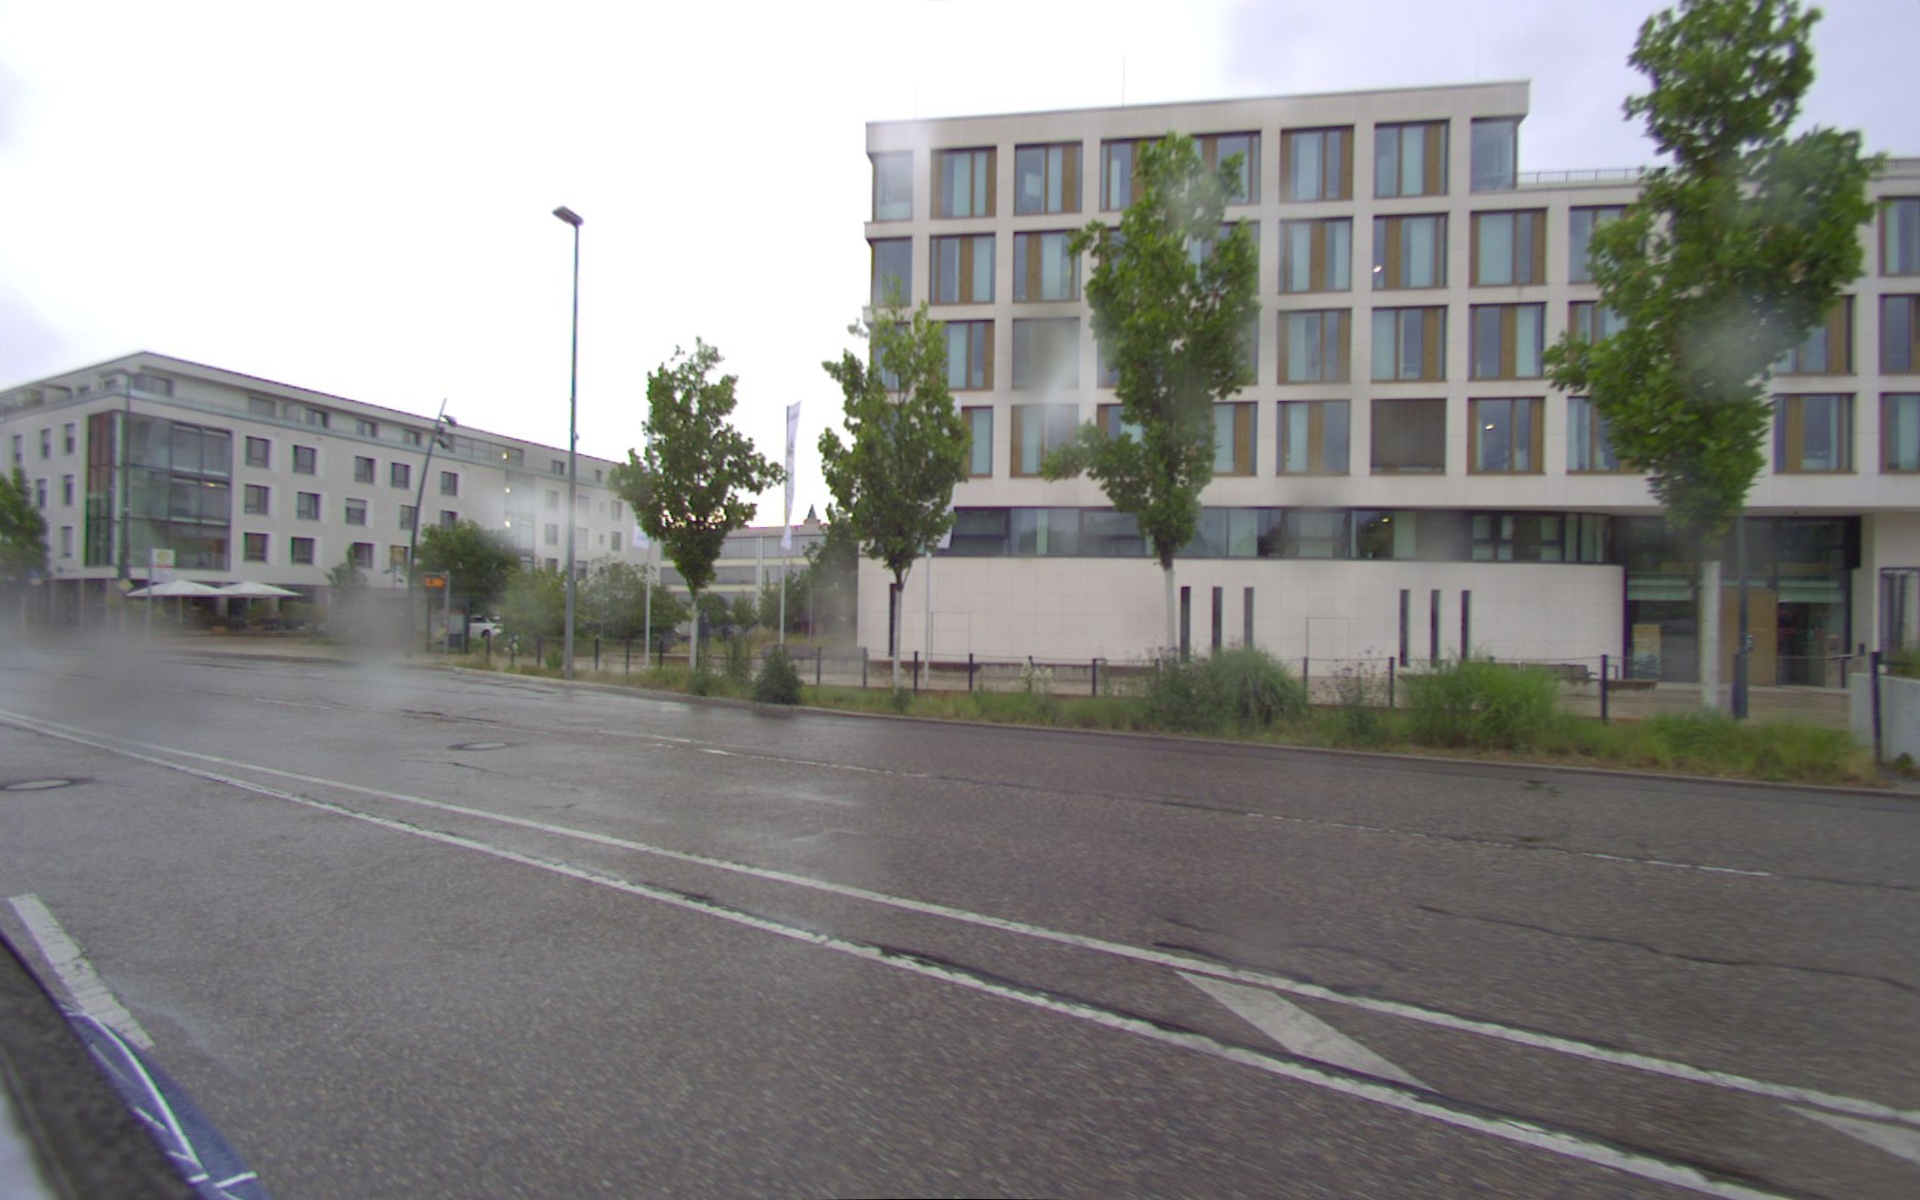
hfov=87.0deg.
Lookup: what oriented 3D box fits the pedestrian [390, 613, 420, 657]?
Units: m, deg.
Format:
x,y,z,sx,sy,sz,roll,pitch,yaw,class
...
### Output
x,y,z,sx,sy,sz,roll,pitch,yaw,class
-23.078,1.457,42.124,0.668,1.758,0.781,2,-1,17,pedestrian
